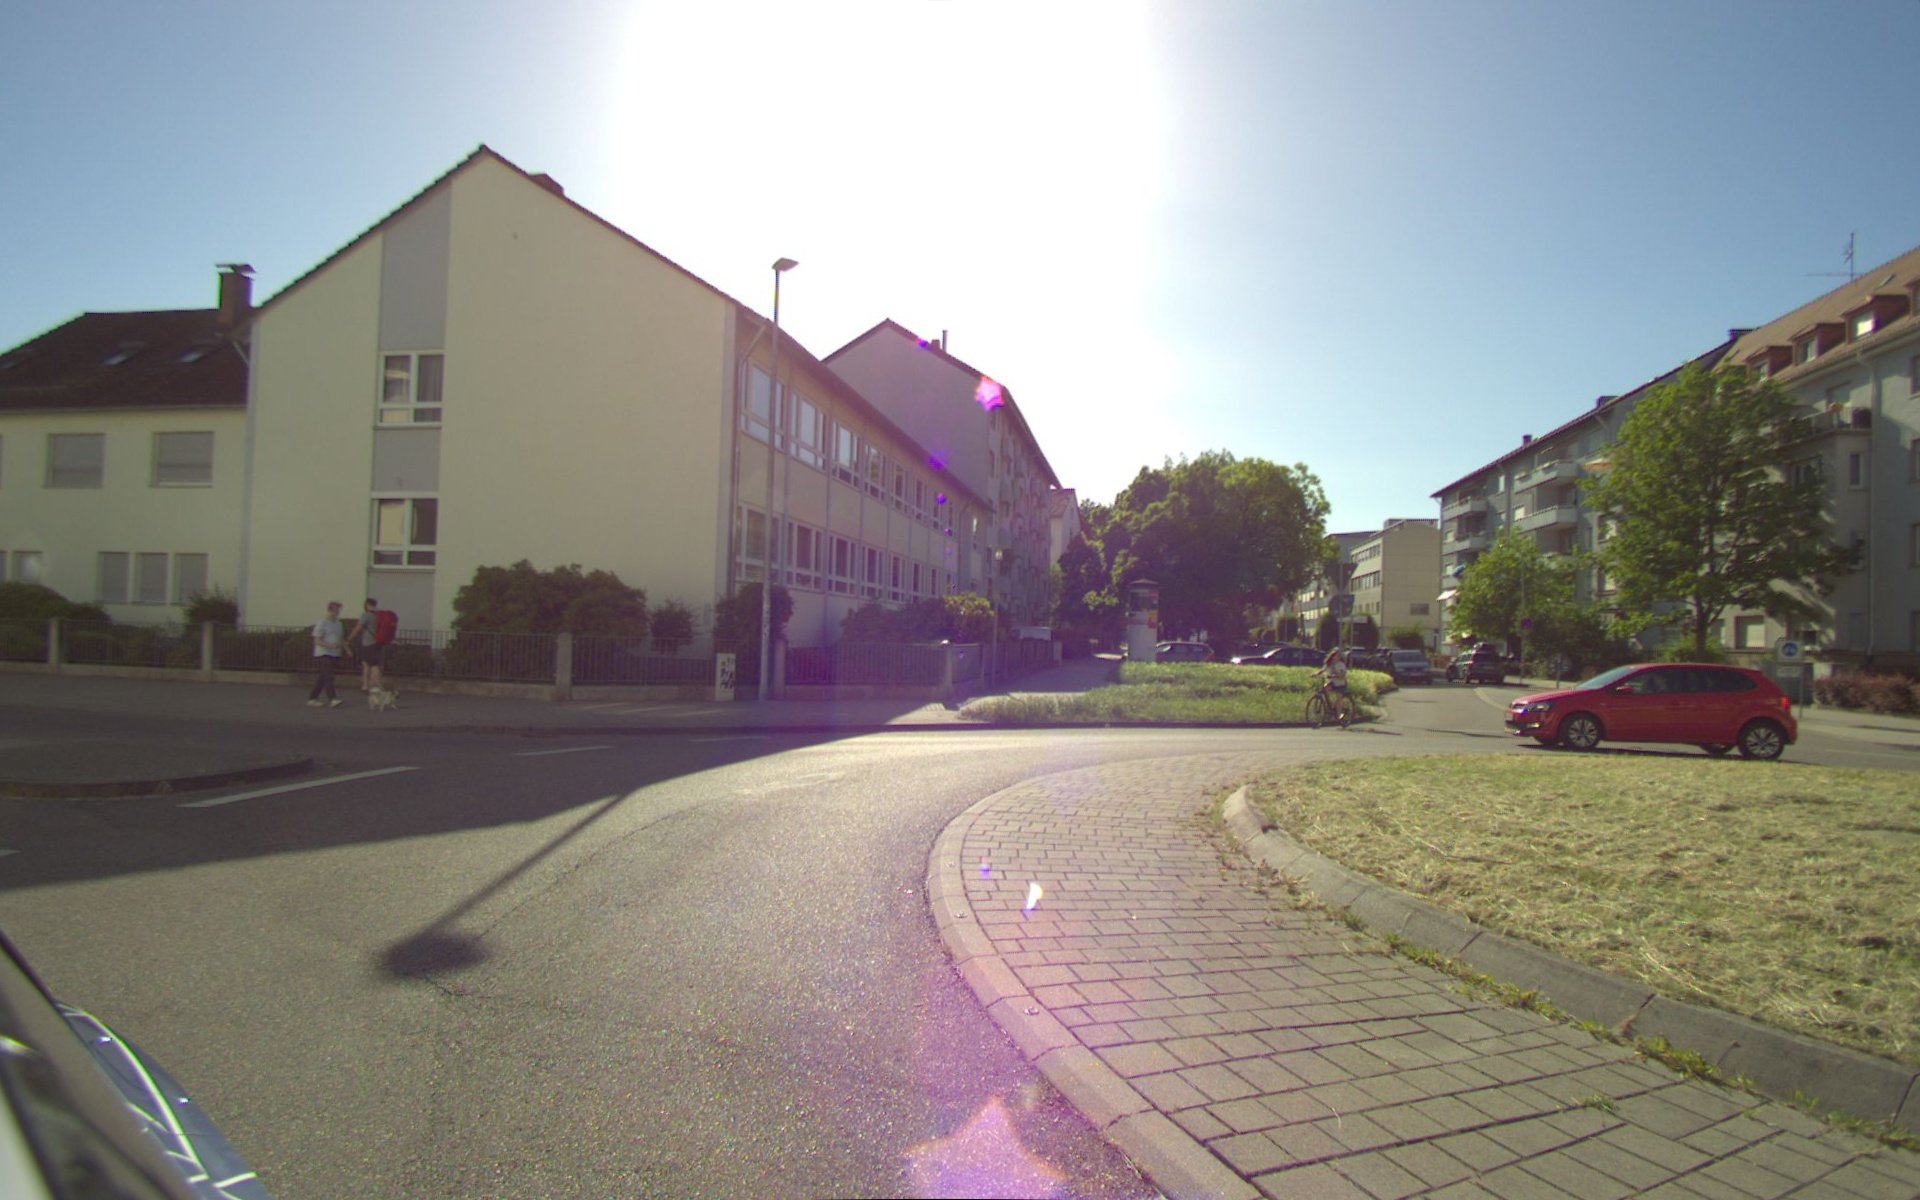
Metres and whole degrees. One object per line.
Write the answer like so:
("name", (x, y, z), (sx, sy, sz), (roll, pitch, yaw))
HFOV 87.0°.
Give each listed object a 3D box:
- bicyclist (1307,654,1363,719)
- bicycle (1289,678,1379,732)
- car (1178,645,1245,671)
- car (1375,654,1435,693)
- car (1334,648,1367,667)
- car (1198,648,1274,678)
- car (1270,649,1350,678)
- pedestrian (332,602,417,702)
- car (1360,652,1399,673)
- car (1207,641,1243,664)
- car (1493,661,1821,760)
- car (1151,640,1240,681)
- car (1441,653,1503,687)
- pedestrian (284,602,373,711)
("bicyclist", (8.034, 1.834, 21.679), (0.812, 1.322, 0.813), (2, -2, -40))
("bicycle", (8.028, 2.226, 21.684), (2.175, 1.022, 0.813), (2, -2, -40))
("car", (15.635, 3.611, 62.939), (3.961, 1.475, 1.818), (1, -2, 14))
("car", (21.487, 3.506, 49.070), (1.862, 1.709, 4.255), (0, -2, 13))
("car", (31.401, 4.616, 81.431), (1.832, 1.390, 3.984), (1, -2, 12))
("car", (15.272, 3.454, 56.027), (3.968, 1.475, 1.987), (1, -2, 19))
("car", (19.778, 3.588, 57.380), (3.952, 1.497, 1.847), (1, -2, 7))
("pedestrian", (-10.483, 0.916, 18.129), (0.987, 1.718, 0.816), (1, -1, 13))
("car", (29.215, 4.341, 70.589), (1.832, 1.390, 3.984), (1, -2, 12))
("car", (18.496, 3.646, 70.754), (1.828, 1.534, 3.993), (1, -2, 6))
("car", (10.980, 1.711, 16.293), (3.966, 1.393, 1.707), (0, -4, 18))
("car", (11.301, 2.856, 48.479), (3.968, 1.785, 1.987), (1, -2, 19))
("car", (25.923, 3.525, 51.363), (1.832, 1.551, 3.984), (1, -2, 12))
("pedestrian", (-10.323, 0.911, 16.564), (0.987, 1.718, 0.689), (1, -1, 13))
